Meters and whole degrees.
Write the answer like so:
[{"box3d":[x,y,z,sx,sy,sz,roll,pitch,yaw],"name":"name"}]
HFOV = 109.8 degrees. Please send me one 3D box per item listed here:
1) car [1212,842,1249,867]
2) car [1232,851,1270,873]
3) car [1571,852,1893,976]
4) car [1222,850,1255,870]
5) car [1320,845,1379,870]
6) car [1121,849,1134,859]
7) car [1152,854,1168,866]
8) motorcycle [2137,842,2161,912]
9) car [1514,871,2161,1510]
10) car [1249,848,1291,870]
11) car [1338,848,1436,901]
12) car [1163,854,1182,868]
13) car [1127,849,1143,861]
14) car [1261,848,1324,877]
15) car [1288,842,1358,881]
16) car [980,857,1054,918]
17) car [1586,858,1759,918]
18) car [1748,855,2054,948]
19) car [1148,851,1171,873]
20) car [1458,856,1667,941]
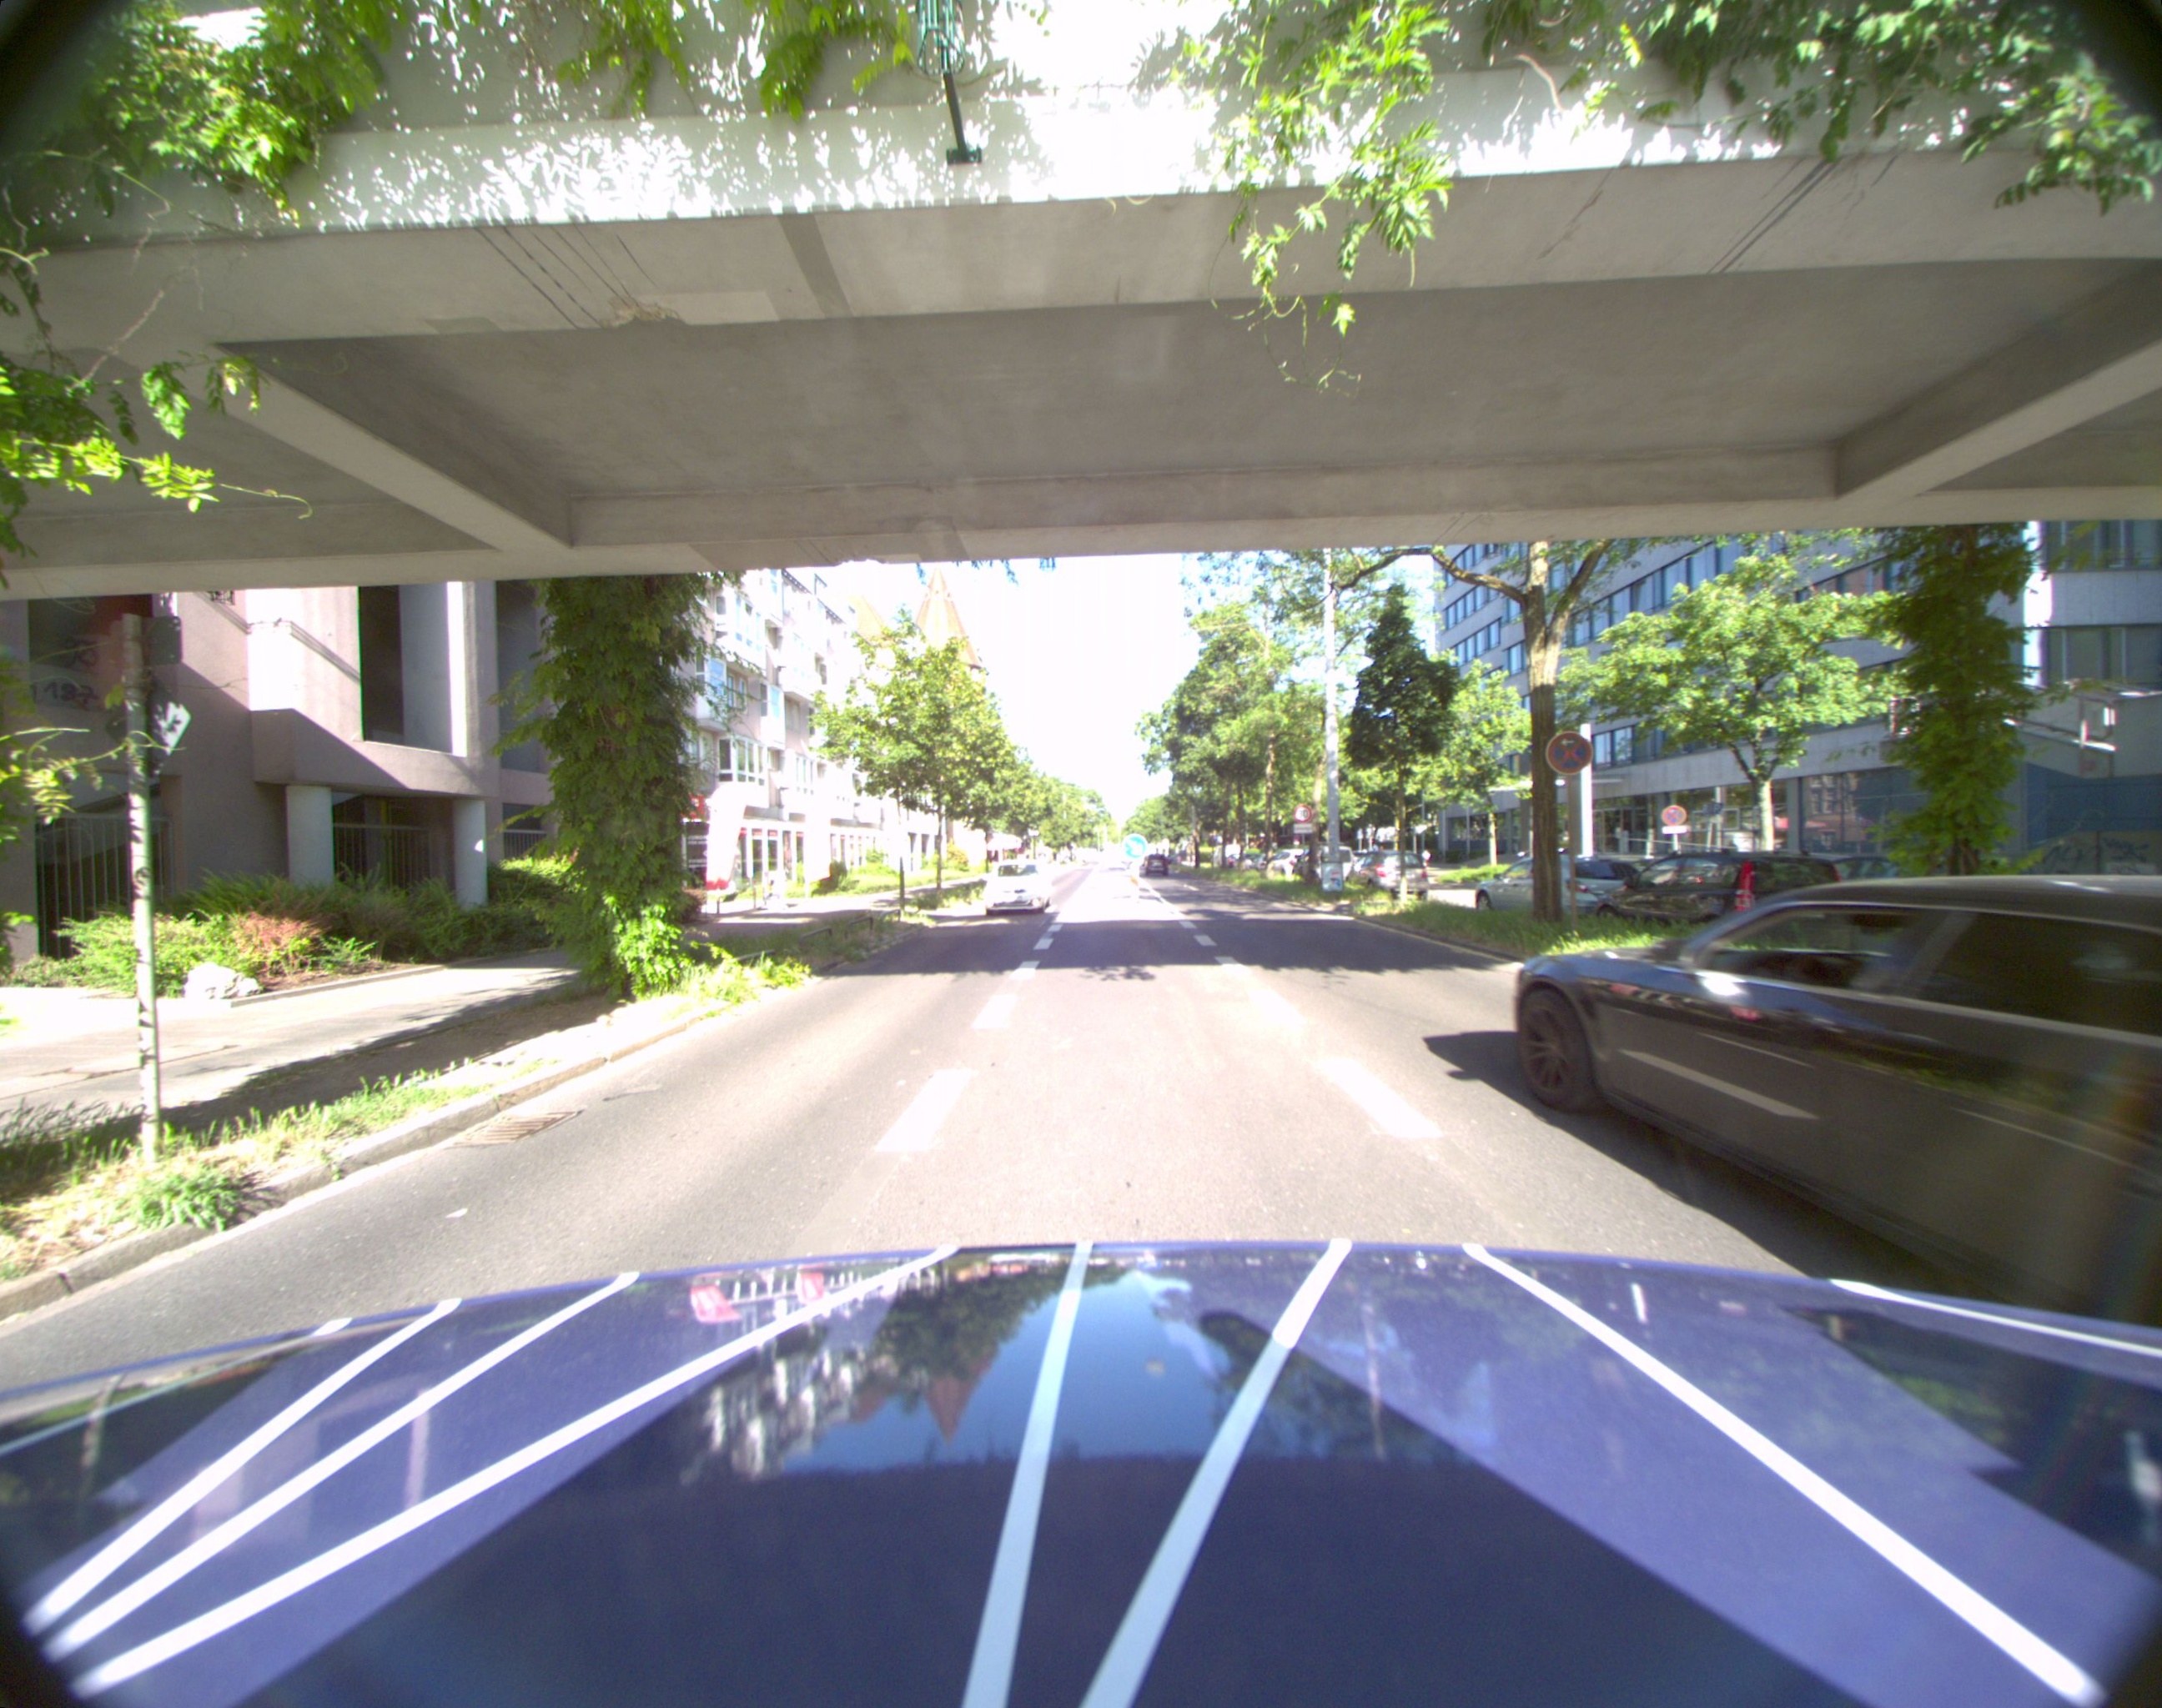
[{"box3d":[11.758,0.010,60.131,2.070,1.898,4.525,-1,1,1],"name":"car"},{"box3d":[11.093,0.478,49.738,1.656,1.336,3.969,-1,1,1],"name":"car"},{"box3d":[9.564,0.762,11.643,1.744,1.529,3.779,1,1,2],"name":"car"},{"box3d":[11.301,0.412,54.744,1.679,1.325,4.189,-1,1,3],"name":"car"},{"box3d":[20.807,0.271,59.059,3.995,1.704,1.706,-3,1,7],"name":"car"},{"box3d":[7.241,-0.028,118.831,1.792,1.575,4.188,-1,1,1],"name":"car"},{"box3d":[9.672,0.739,93.223,1.605,1.406,4.000,-1,1,3],"name":"car"},{"box3d":[20.066,0.422,13.158,0.731,1.263,2.053,-1,1,1],"name":"motorcycle"},{"box3d":[3.594,0.857,2.532,1.870,1.450,4.593,0,1,3],"name":"car"},{"box3d":[10.868,0.263,43.839,1.655,1.219,3.847,-1,1,3],"name":"car"},{"box3d":[10.162,0.623,25.546,1.777,1.637,4.083,-1,1,3],"name":"car"},{"box3d":[9.839,0.723,81.567,1.740,1.481,4.000,-1,1,3],"name":"car"},{"box3d":[6.460,0.085,91.037,1.791,1.414,4.188,0,1,2],"name":"car"},{"box3d":[10.873,0.388,39.386,1.721,1.375,4.490,-1,1,-4],"name":"car"},{"box3d":[10.521,0.289,33.351,1.734,1.540,4.449,-1,1,2],"name":"car"},{"box3d":[-1.749,0.894,22.056,1.663,1.521,4.099,-1,0,2],"name":"car"},{"box3d":[15.776,0.840,20.528,1.685,1.395,3.800,-1,1,-1],"name":"car"},{"box3d":[15.574,0.808,14.812,1.736,1.521,4.000,-1,1,2],"name":"car"},{"box3d":[5.508,0.565,53.716,1.470,1.518,2.817,-1,1,3],"name":"car"},{"box3d":[9.794,0.816,15.932,1.656,1.440,4.282,2,1,1],"name":"car"}]
